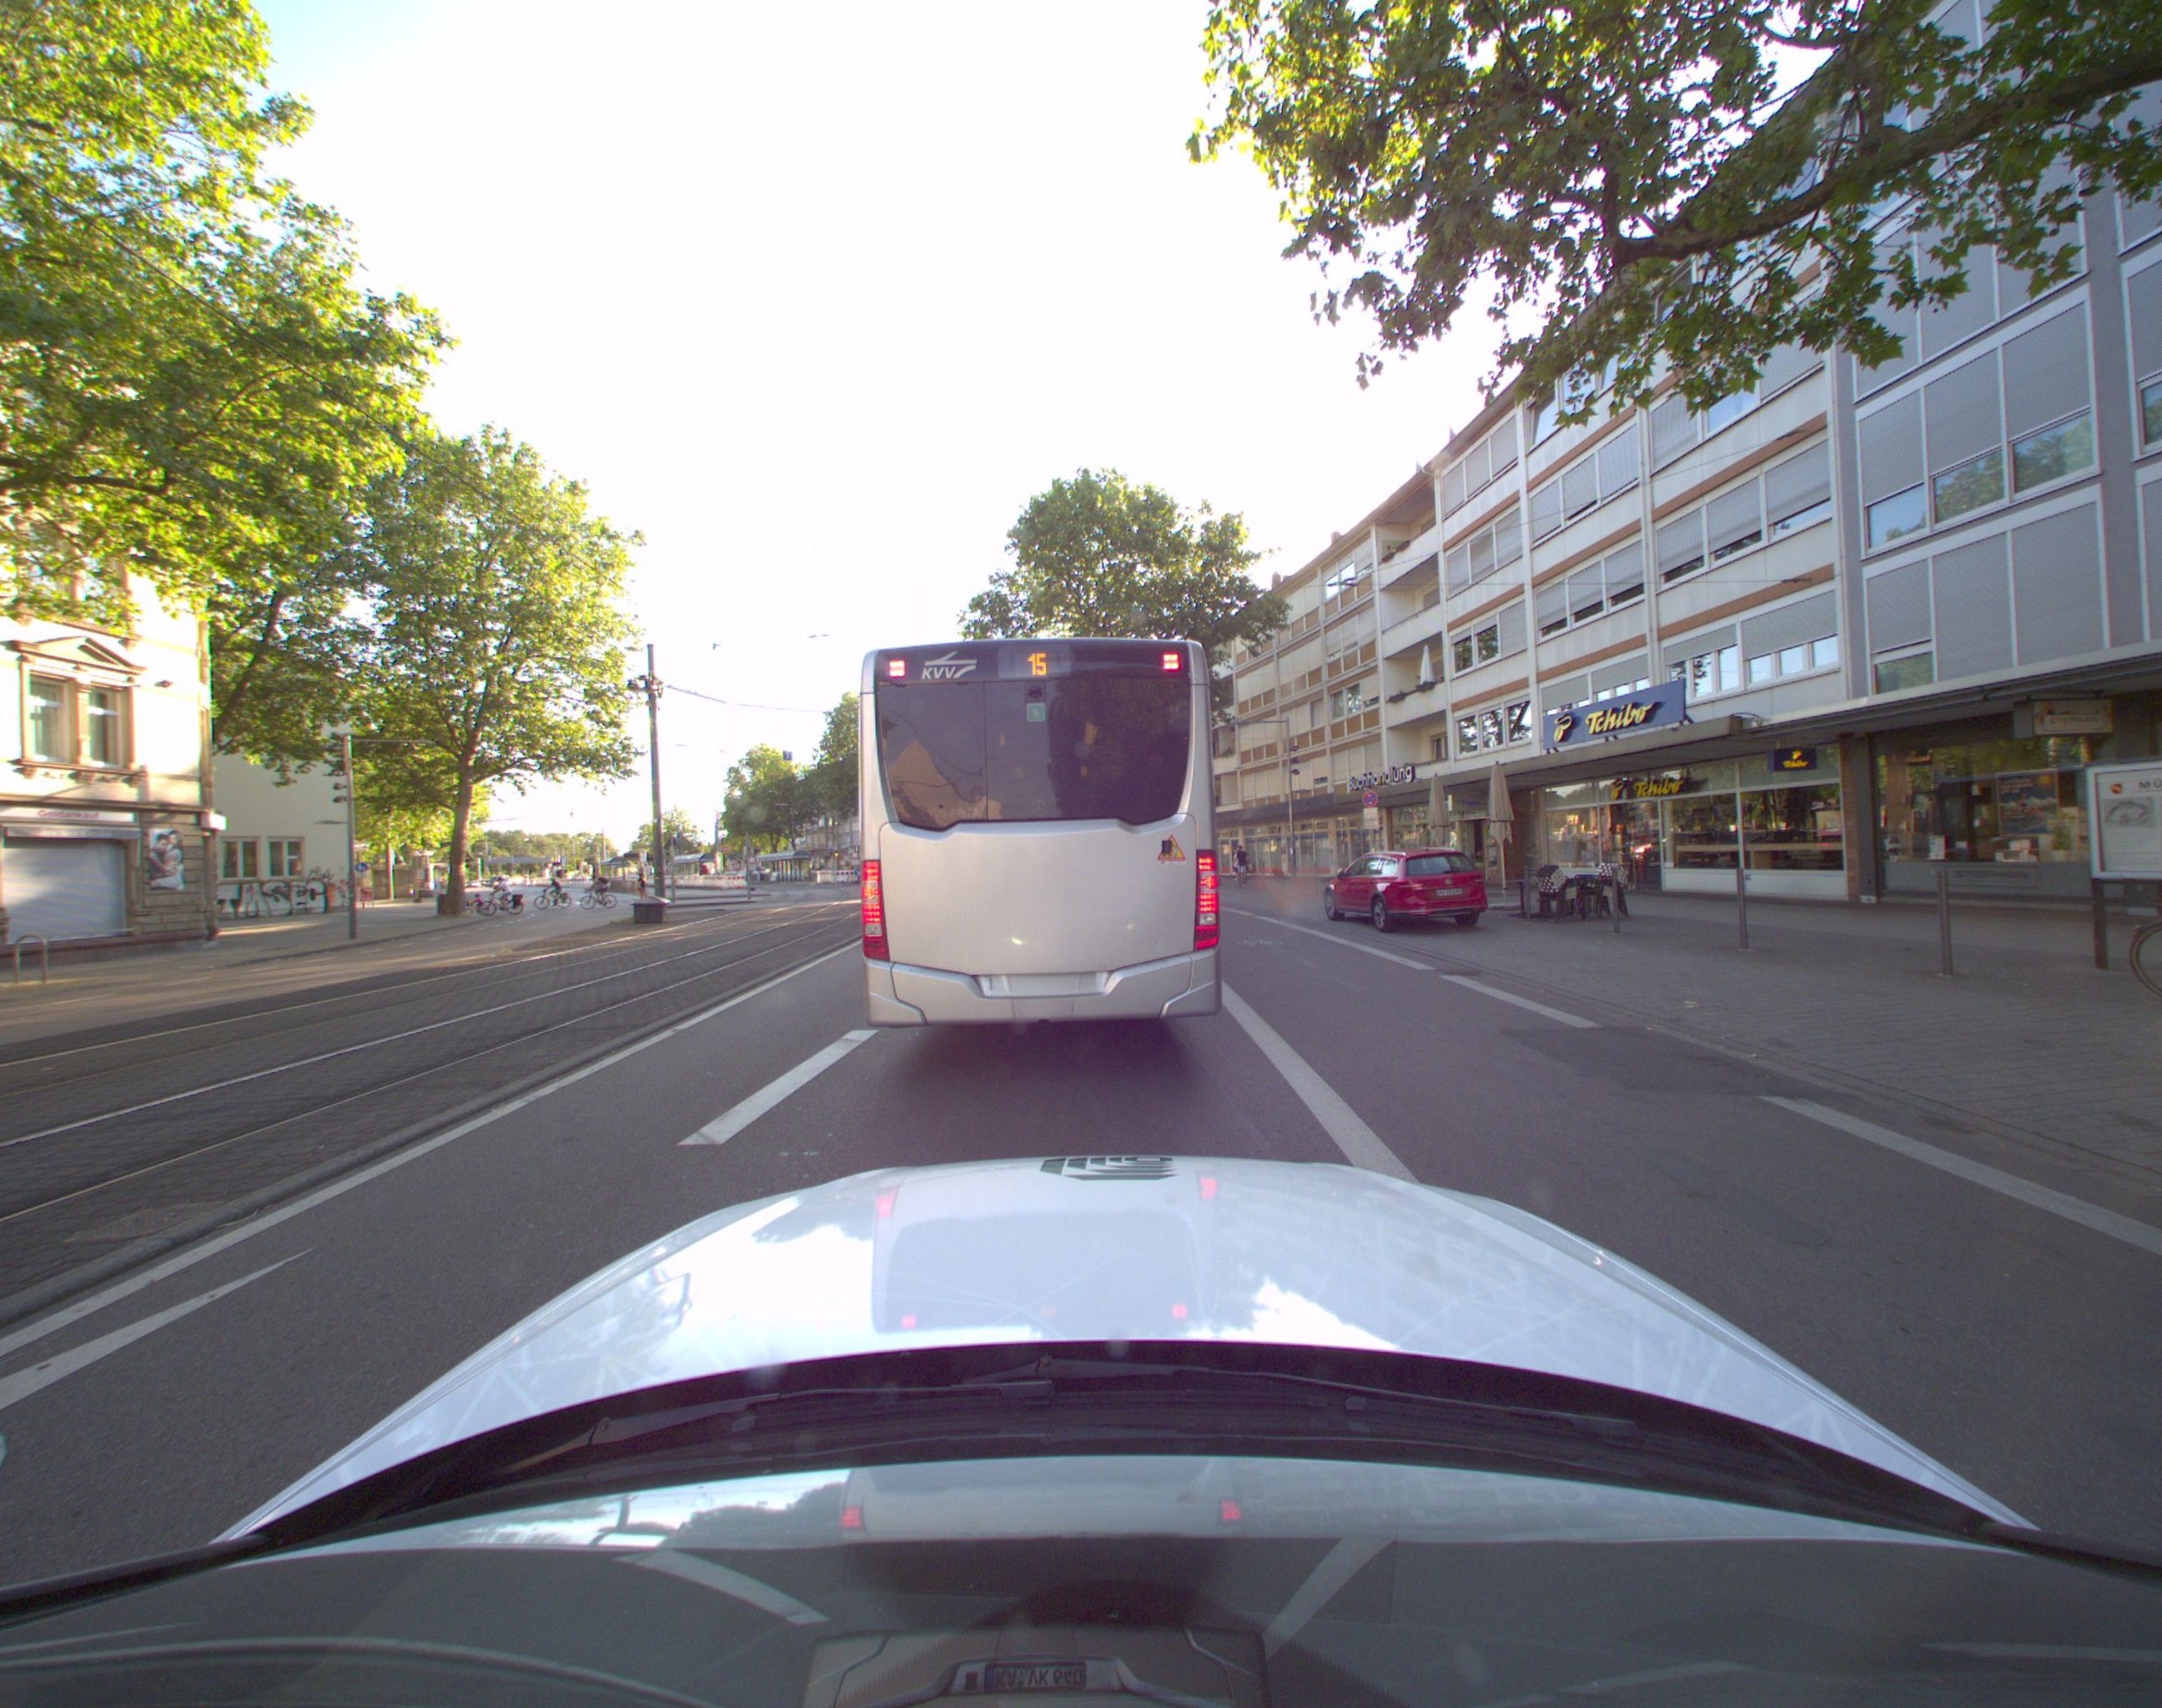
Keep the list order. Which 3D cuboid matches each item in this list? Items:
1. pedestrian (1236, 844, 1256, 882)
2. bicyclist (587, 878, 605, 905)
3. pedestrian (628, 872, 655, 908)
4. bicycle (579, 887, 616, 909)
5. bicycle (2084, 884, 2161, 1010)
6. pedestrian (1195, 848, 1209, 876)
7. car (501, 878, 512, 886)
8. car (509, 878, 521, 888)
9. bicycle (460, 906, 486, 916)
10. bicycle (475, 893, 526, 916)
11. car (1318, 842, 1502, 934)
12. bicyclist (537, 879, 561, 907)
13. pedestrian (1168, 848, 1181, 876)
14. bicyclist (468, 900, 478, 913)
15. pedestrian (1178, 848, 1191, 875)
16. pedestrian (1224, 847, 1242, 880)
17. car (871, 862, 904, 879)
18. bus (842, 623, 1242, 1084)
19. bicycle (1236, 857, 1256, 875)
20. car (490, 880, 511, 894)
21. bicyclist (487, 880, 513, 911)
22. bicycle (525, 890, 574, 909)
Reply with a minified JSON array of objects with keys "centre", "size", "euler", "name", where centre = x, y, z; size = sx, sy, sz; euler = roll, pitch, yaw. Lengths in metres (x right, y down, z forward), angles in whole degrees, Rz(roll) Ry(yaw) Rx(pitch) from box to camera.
[{"centre":[7.523,0.402,37.163],"size":[0.646,1.717,0.557],"euler":[-2,-1,-14],"name":"pedestrian"},{"centre":[-24.272,1.858,40.744],"size":[0.640,1.293,0.454],"euler":[-2,-1,-17],"name":"bicyclist"},{"centre":[-21.587,1.768,40.047],"size":[0.994,1.686,0.642],"euler":[-1,-2,-10],"name":"pedestrian"},{"centre":[-24.192,2.214,40.760],"size":[1.509,0.985,0.448],"euler":[-2,-1,-18],"name":"bicycle"},{"centre":[8.616,0.707,5.820],"size":[0.391,0.939,1.766],"euler":[-4,0,-18],"name":"bicycle"},{"centre":[7.160,0.475,48.058],"size":[0.536,1.648,0.612],"euler":[-2,-1,-15],"name":"pedestrian"},{"centre":[-130.212,6.279,184.614],"size":[1.858,1.684,3.676],"euler":[-2,-1,-35],"name":"car"},{"centre":[-111.549,5.728,160.448],"size":[1.858,1.683,3.677],"euler":[-4,1,-35],"name":"car"},{"centre":[-30.075,2.805,40.268],"size":[0.960,0.399,0.288],"euler":[-2,-1,-19],"name":"bicycle"},{"centre":[-28.173,2.444,39.559],"size":[1.916,1.005,0.615],"euler":[-2,-1,-23],"name":"bicycle"},{"centre":[6.365,0.605,16.344],"size":[1.765,1.482,4.300],"euler":[-4,0,-2],"name":"car"},{"centre":[-28.459,2.090,43.590],"size":[0.840,1.444,0.753],"euler":[-2,-1,-13],"name":"bicyclist"},{"centre":[5.689,0.486,49.795],"size":[0.536,1.648,0.612],"euler":[-2,-1,-15],"name":"pedestrian"},{"centre":[-30.080,2.584,40.273],"size":[0.309,0.590,0.278],"euler":[-2,-1,-19],"name":"bicyclist"},{"centre":[6.379,0.472,50.214],"size":[0.536,1.648,0.612],"euler":[-2,-1,-15],"name":"pedestrian"},{"centre":[7.528,0.462,40.444],"size":[0.646,1.581,0.557],"euler":[-2,-1,-14],"name":"pedestrian"},{"centre":[-21.024,1.760,88.460],"size":[2.010,1.792,3.954],"euler":[0,-1,-39],"name":"car"},{"centre":[-0.116,0.016,10.429],"size":[2.621,3.028,10.000],"euler":[-1,0,2],"name":"bus"},{"centre":[9.300,0.677,45.946],"size":[0.413,0.945,1.431],"euler":[-2,0,-18],"name":"bicycle"},{"centre":[-77.314,4.401,108.563],"size":[2.008,1.640,3.958],"euler":[-2,0,-33],"name":"car"},{"centre":[-28.222,2.026,39.552],"size":[0.843,1.444,0.622],"euler":[-2,-1,-23],"name":"bicyclist"},{"centre":[-28.453,2.428,43.585],"size":[2.020,0.937,0.757],"euler":[-2,-1,-13],"name":"bicycle"}]
